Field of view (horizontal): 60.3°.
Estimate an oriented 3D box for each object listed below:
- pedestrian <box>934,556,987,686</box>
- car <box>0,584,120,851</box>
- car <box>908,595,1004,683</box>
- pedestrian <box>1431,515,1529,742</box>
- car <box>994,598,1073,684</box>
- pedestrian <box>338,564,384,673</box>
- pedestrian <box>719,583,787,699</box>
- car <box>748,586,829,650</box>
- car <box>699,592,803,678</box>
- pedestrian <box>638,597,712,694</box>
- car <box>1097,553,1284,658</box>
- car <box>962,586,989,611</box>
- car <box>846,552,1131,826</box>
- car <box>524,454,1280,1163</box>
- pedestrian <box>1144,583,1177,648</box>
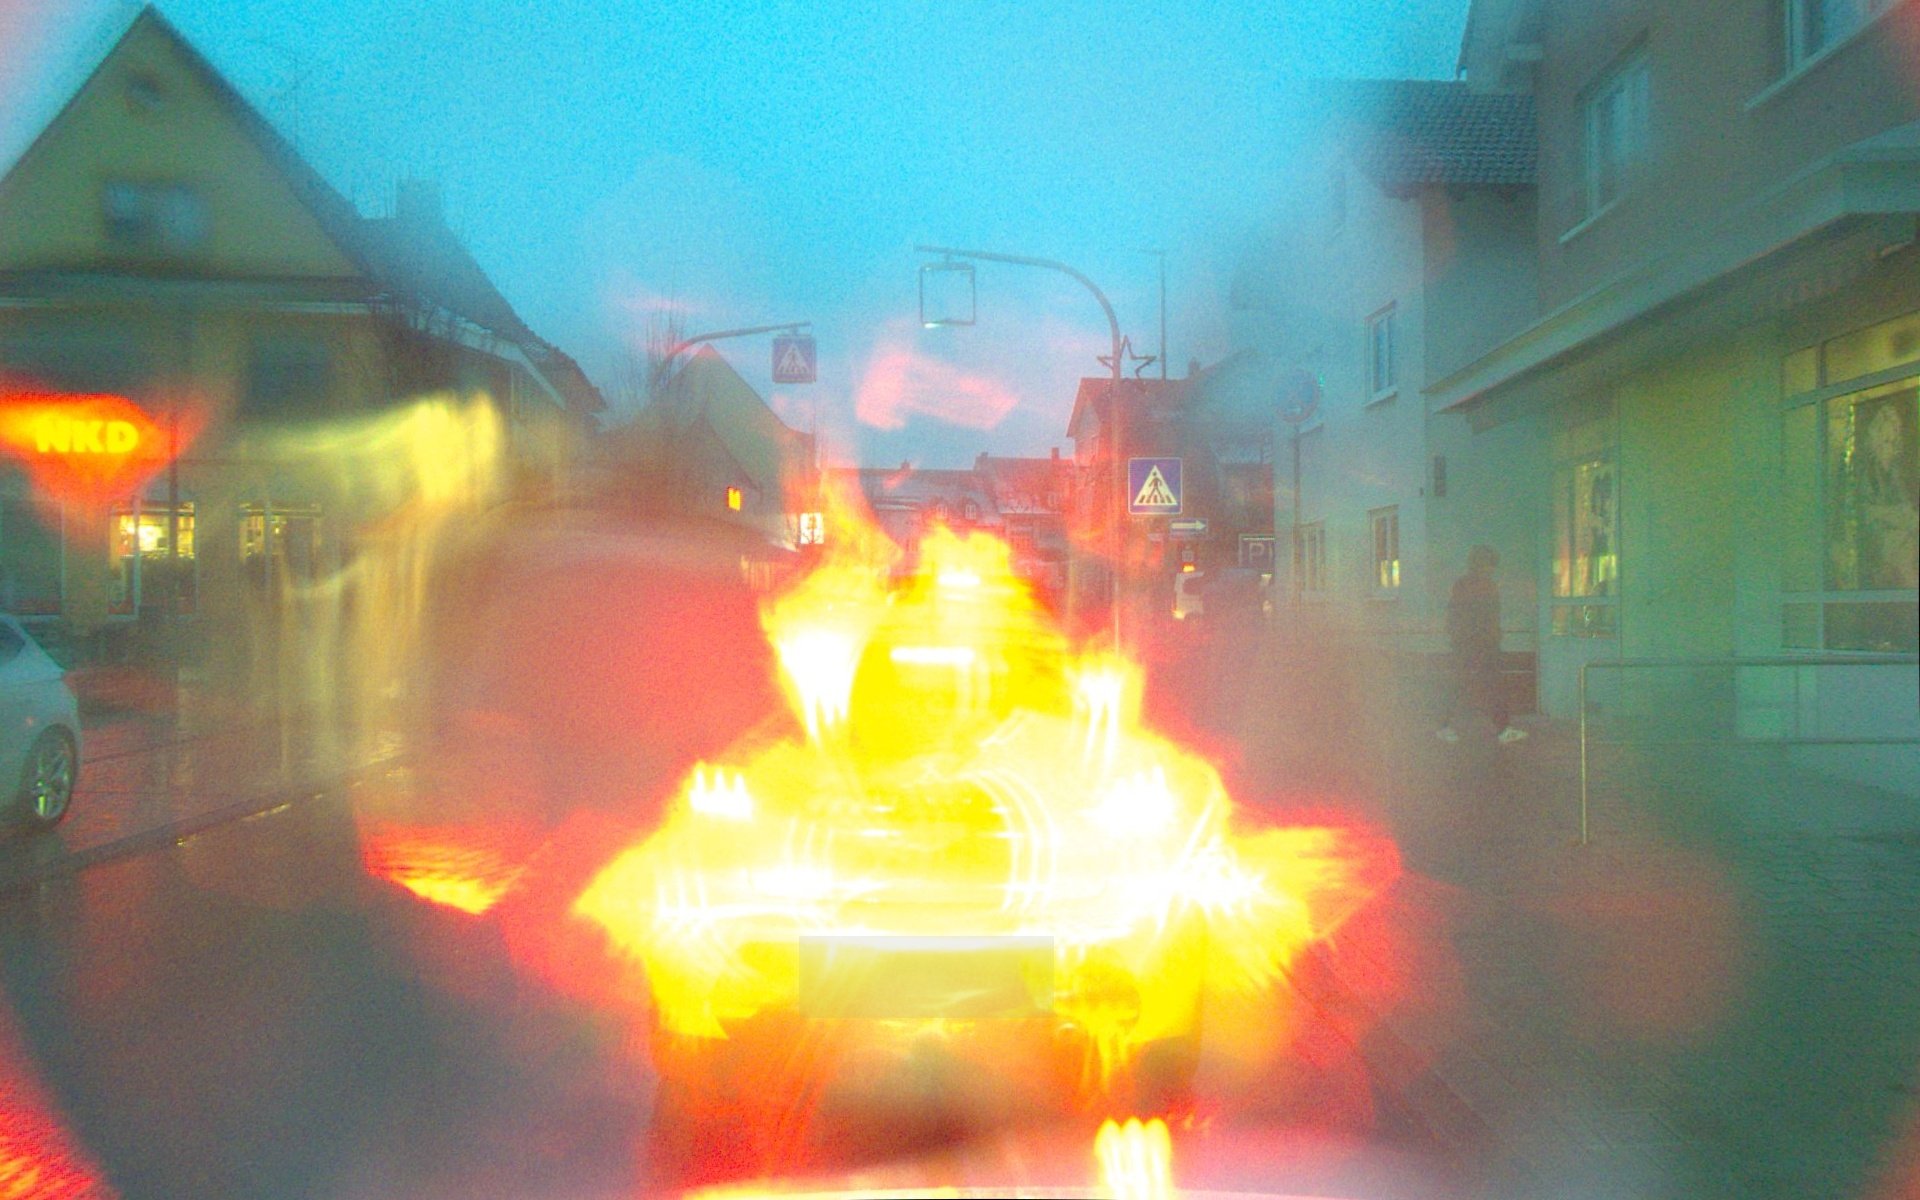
[{"bbox_3d":[0.006,0.310,24.782,0.689,1.909,0.616,1,1,-7],"label":"pedestrian"},{"bbox_3d":[-6.386,0.672,8.948,1.636,1.543,3.999,2,0,-1],"label":"car"},{"bbox_3d":[-0.016,0.720,33.122,1.789,1.629,4.582,0,0,1],"label":"car"},{"bbox_3d":[4.552,0.244,14.523,0.649,1.921,0.824,1,-1,6],"label":"pedestrian"},{"bbox_3d":[1.846,1.006,42.766,1.609,2.049,3.998,-1,1,-3],"label":"car"},{"bbox_3d":[-9.829,0.297,27.155,0.577,1.773,0.683,0,0,-8],"label":"pedestrian"},{"bbox_3d":[-3.250,0.628,26.037,0.954,1.773,0.961,1,1,-3],"label":"pedestrian"},{"bbox_3d":[-4.998,0.502,48.647,1.953,1.783,4.361,0,0,-1],"label":"car"},{"bbox_3d":[-5.182,0.826,41.502,1.952,2.049,4.362,0,0,1],"label":"car"},{"bbox_3d":[-4.569,0.730,26.583,0.872,1.442,0.776,6,-1,4],"label":"pedestrian"},{"bbox_3d":[4.664,0.116,33.848,3.620,2.049,1.690,1,-1,3],"label":"car"},{"bbox_3d":[0.970,-0.110,100.864,1.503,1.266,3.648,-5,1,2],"label":"car"},{"bbox_3d":[0.202,0.562,12.316,1.761,1.691,4.000,1,0,1],"label":"car"},{"bbox_3d":[-0.067,0.506,6.605,1.952,1.827,4.650,0,1,2],"label":"car"},{"bbox_3d":[6.364,0.491,52.642,0.995,2.049,1.276,0,0,5],"label":"pedestrian"}]
